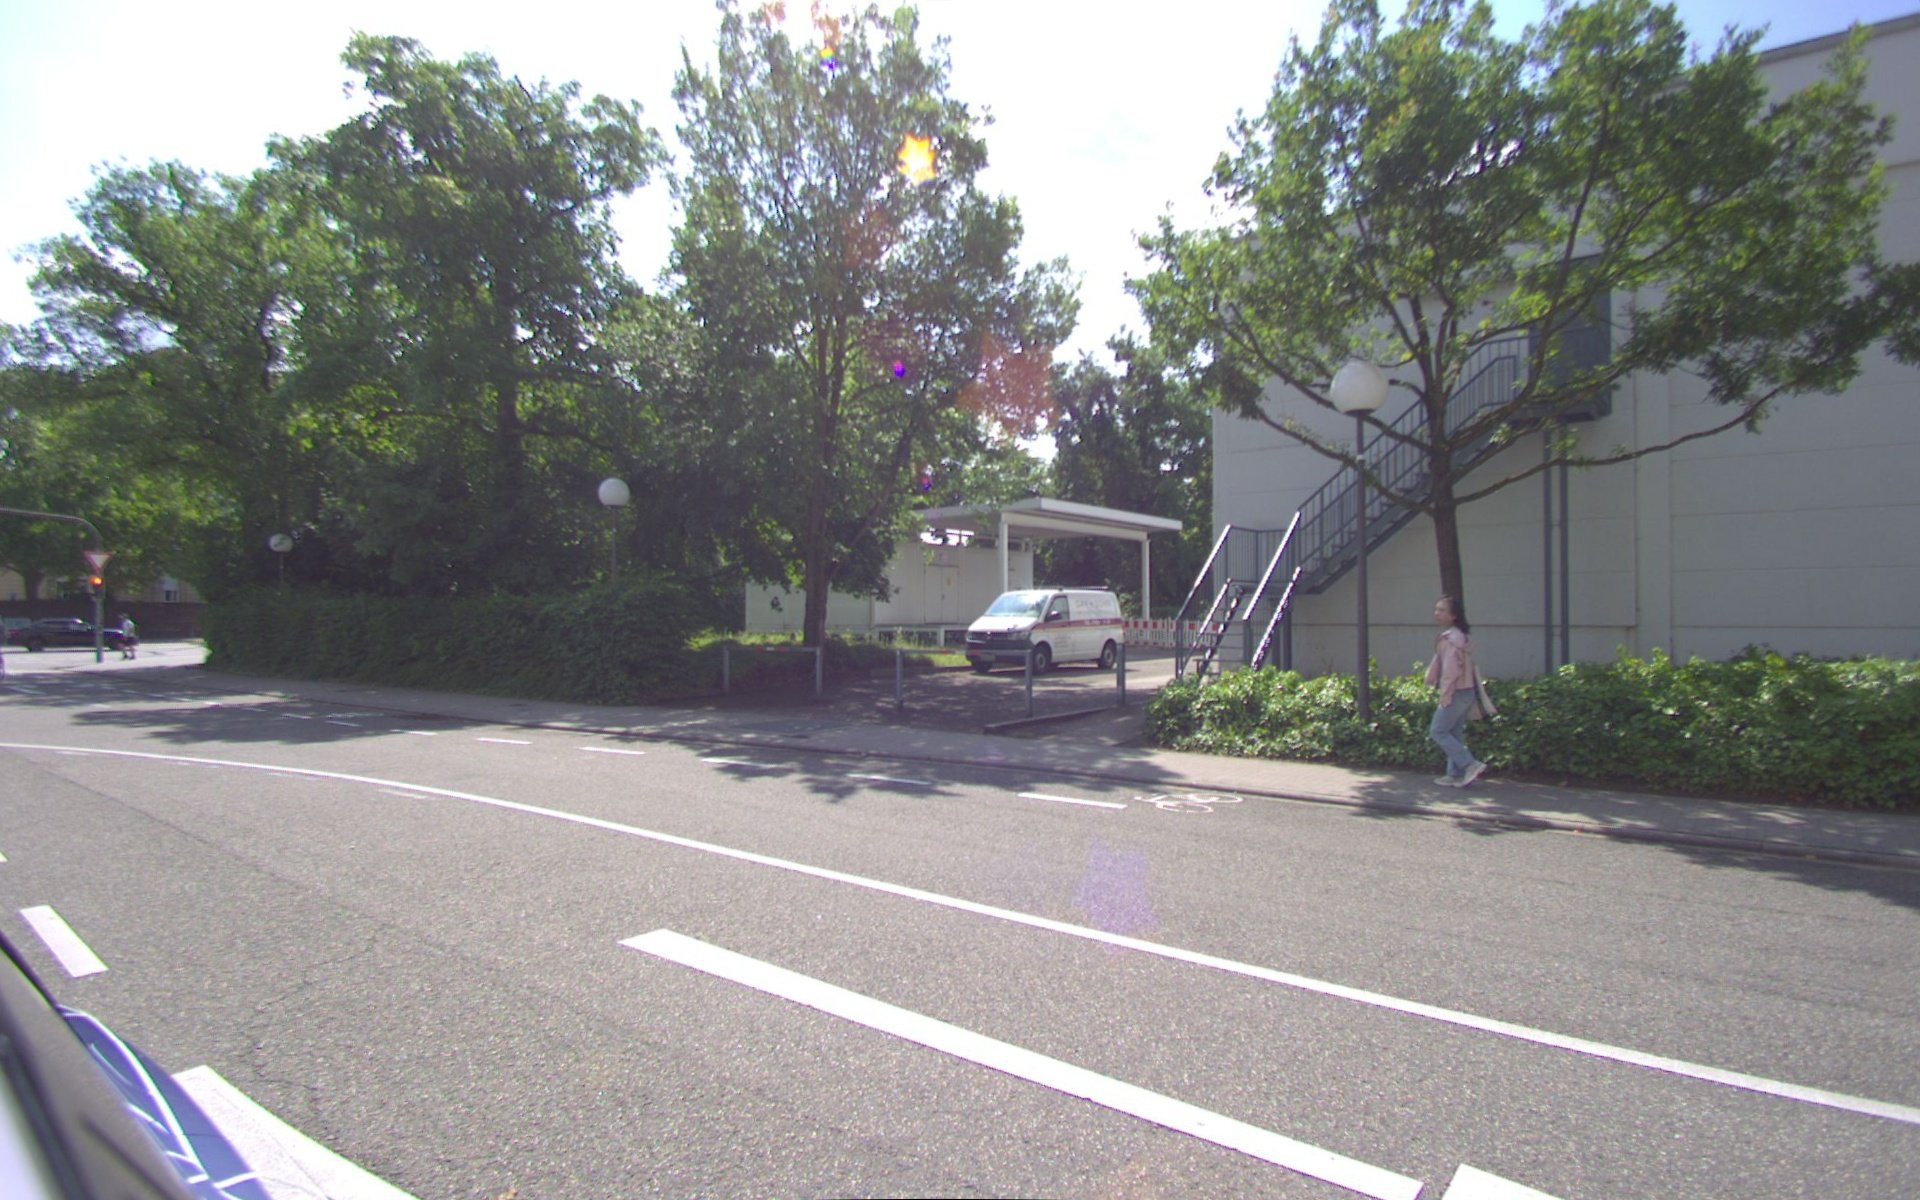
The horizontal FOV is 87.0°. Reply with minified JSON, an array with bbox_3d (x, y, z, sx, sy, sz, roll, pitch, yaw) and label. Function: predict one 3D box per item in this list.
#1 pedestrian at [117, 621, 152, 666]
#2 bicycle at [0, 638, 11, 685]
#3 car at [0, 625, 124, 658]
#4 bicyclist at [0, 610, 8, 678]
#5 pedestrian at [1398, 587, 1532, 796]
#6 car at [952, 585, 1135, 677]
[{"bbox_3d":[-31.958,1.693,39.170,0.854,1.714,0.918,-3,-3,42],"label":"pedestrian"},{"bbox_3d":[-25.214,1.576,26.121,2.206,1.180,0.686,-1,-1,38],"label":"bicycle"},{"bbox_3d":[-40.296,1.845,45.396,4.128,1.427,1.832,2,-3,-45],"label":"car"},{"bbox_3d":[-25.162,1.142,26.121,0.917,1.750,0.686,-1,-2,38],"label":"bicyclist"},{"bbox_3d":[4.248,0.731,8.510,0.882,1.639,0.706,-1,-1,37],"label":"pedestrian"},{"bbox_3d":[2.133,0.697,24.543,1.999,2.001,4.870,0,0,40],"label":"car"}]
